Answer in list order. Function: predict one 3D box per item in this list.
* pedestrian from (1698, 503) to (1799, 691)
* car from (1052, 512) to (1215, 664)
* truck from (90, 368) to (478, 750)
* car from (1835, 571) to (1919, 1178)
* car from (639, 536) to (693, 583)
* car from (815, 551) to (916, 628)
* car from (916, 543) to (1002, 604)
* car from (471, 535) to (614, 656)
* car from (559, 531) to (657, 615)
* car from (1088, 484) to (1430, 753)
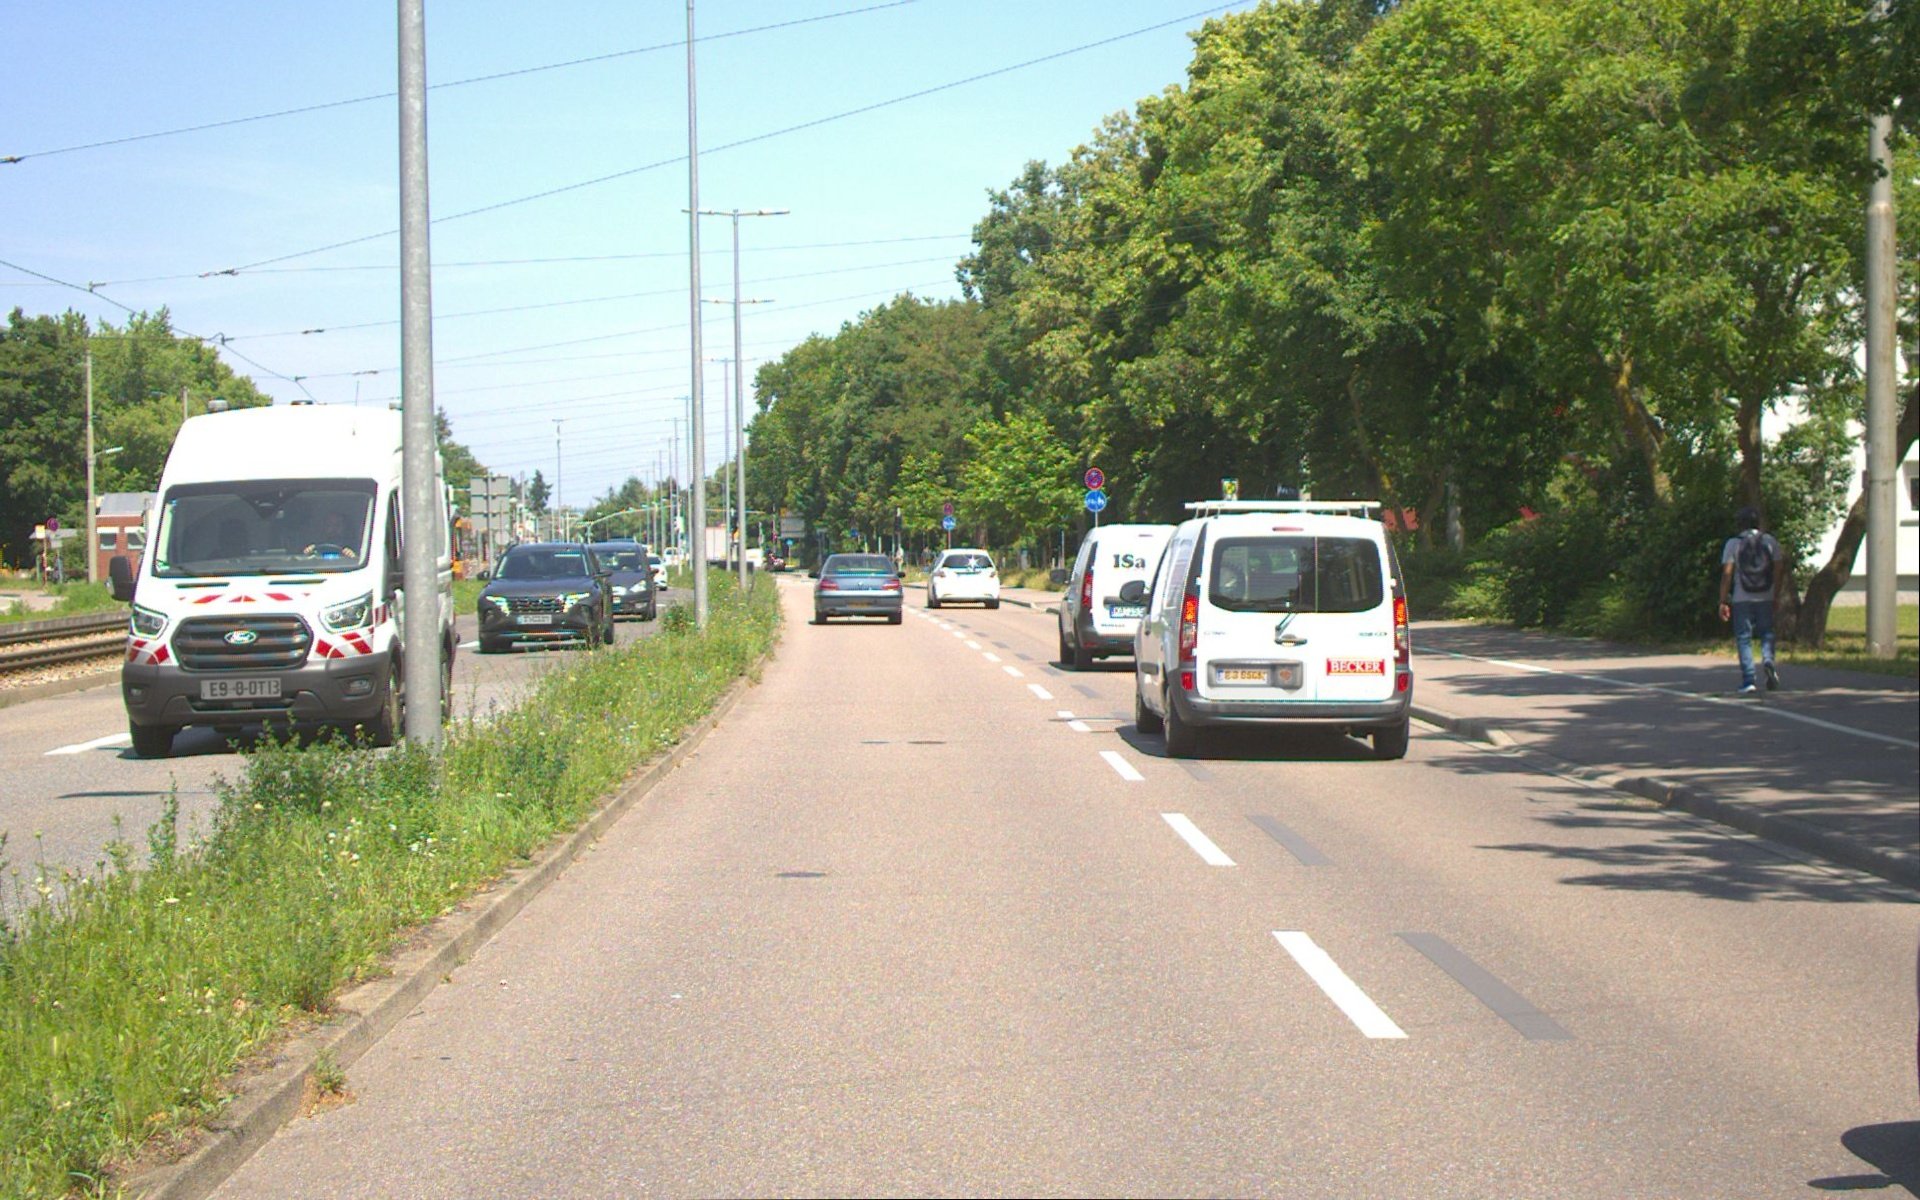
[{"bbox_3d":[6.964,-0.032,30.382,0.668,1.638,0.856,0,1,-2],"label":"pedestrian"},{"bbox_3d":[2.126,-0.184,43.134,1.727,1.807,4.000,1,1,-1],"label":"car"},{"bbox_3d":[-5.348,-0.363,28.019,2.081,2.739,5.547,-2,1,-1],"label":"truck"},{"bbox_3d":[3.129,0.678,7.059,1.659,1.444,3.855,0,1,0],"label":"car"},{"bbox_3d":[-11.444,-1.571,133.883,1.830,1.733,4.038,-2,1,-2],"label":"car"},{"bbox_3d":[-1.909,-0.225,68.203,1.801,1.481,4.001,0,1,-4],"label":"car"},{"bbox_3d":[-0.051,-0.690,88.176,1.803,1.534,4.001,0,1,-6],"label":"car"},{"bbox_3d":[-6.462,-0.111,53.601,1.829,1.750,4.489,-2,1,-3],"label":"car"},{"bbox_3d":[-7.628,-0.602,74.826,1.829,1.707,4.794,-2,1,-3],"label":"car"},{"bbox_3d":[2.188,0.104,26.360,1.824,1.875,4.457,0,1,-5],"label":"car"}]
